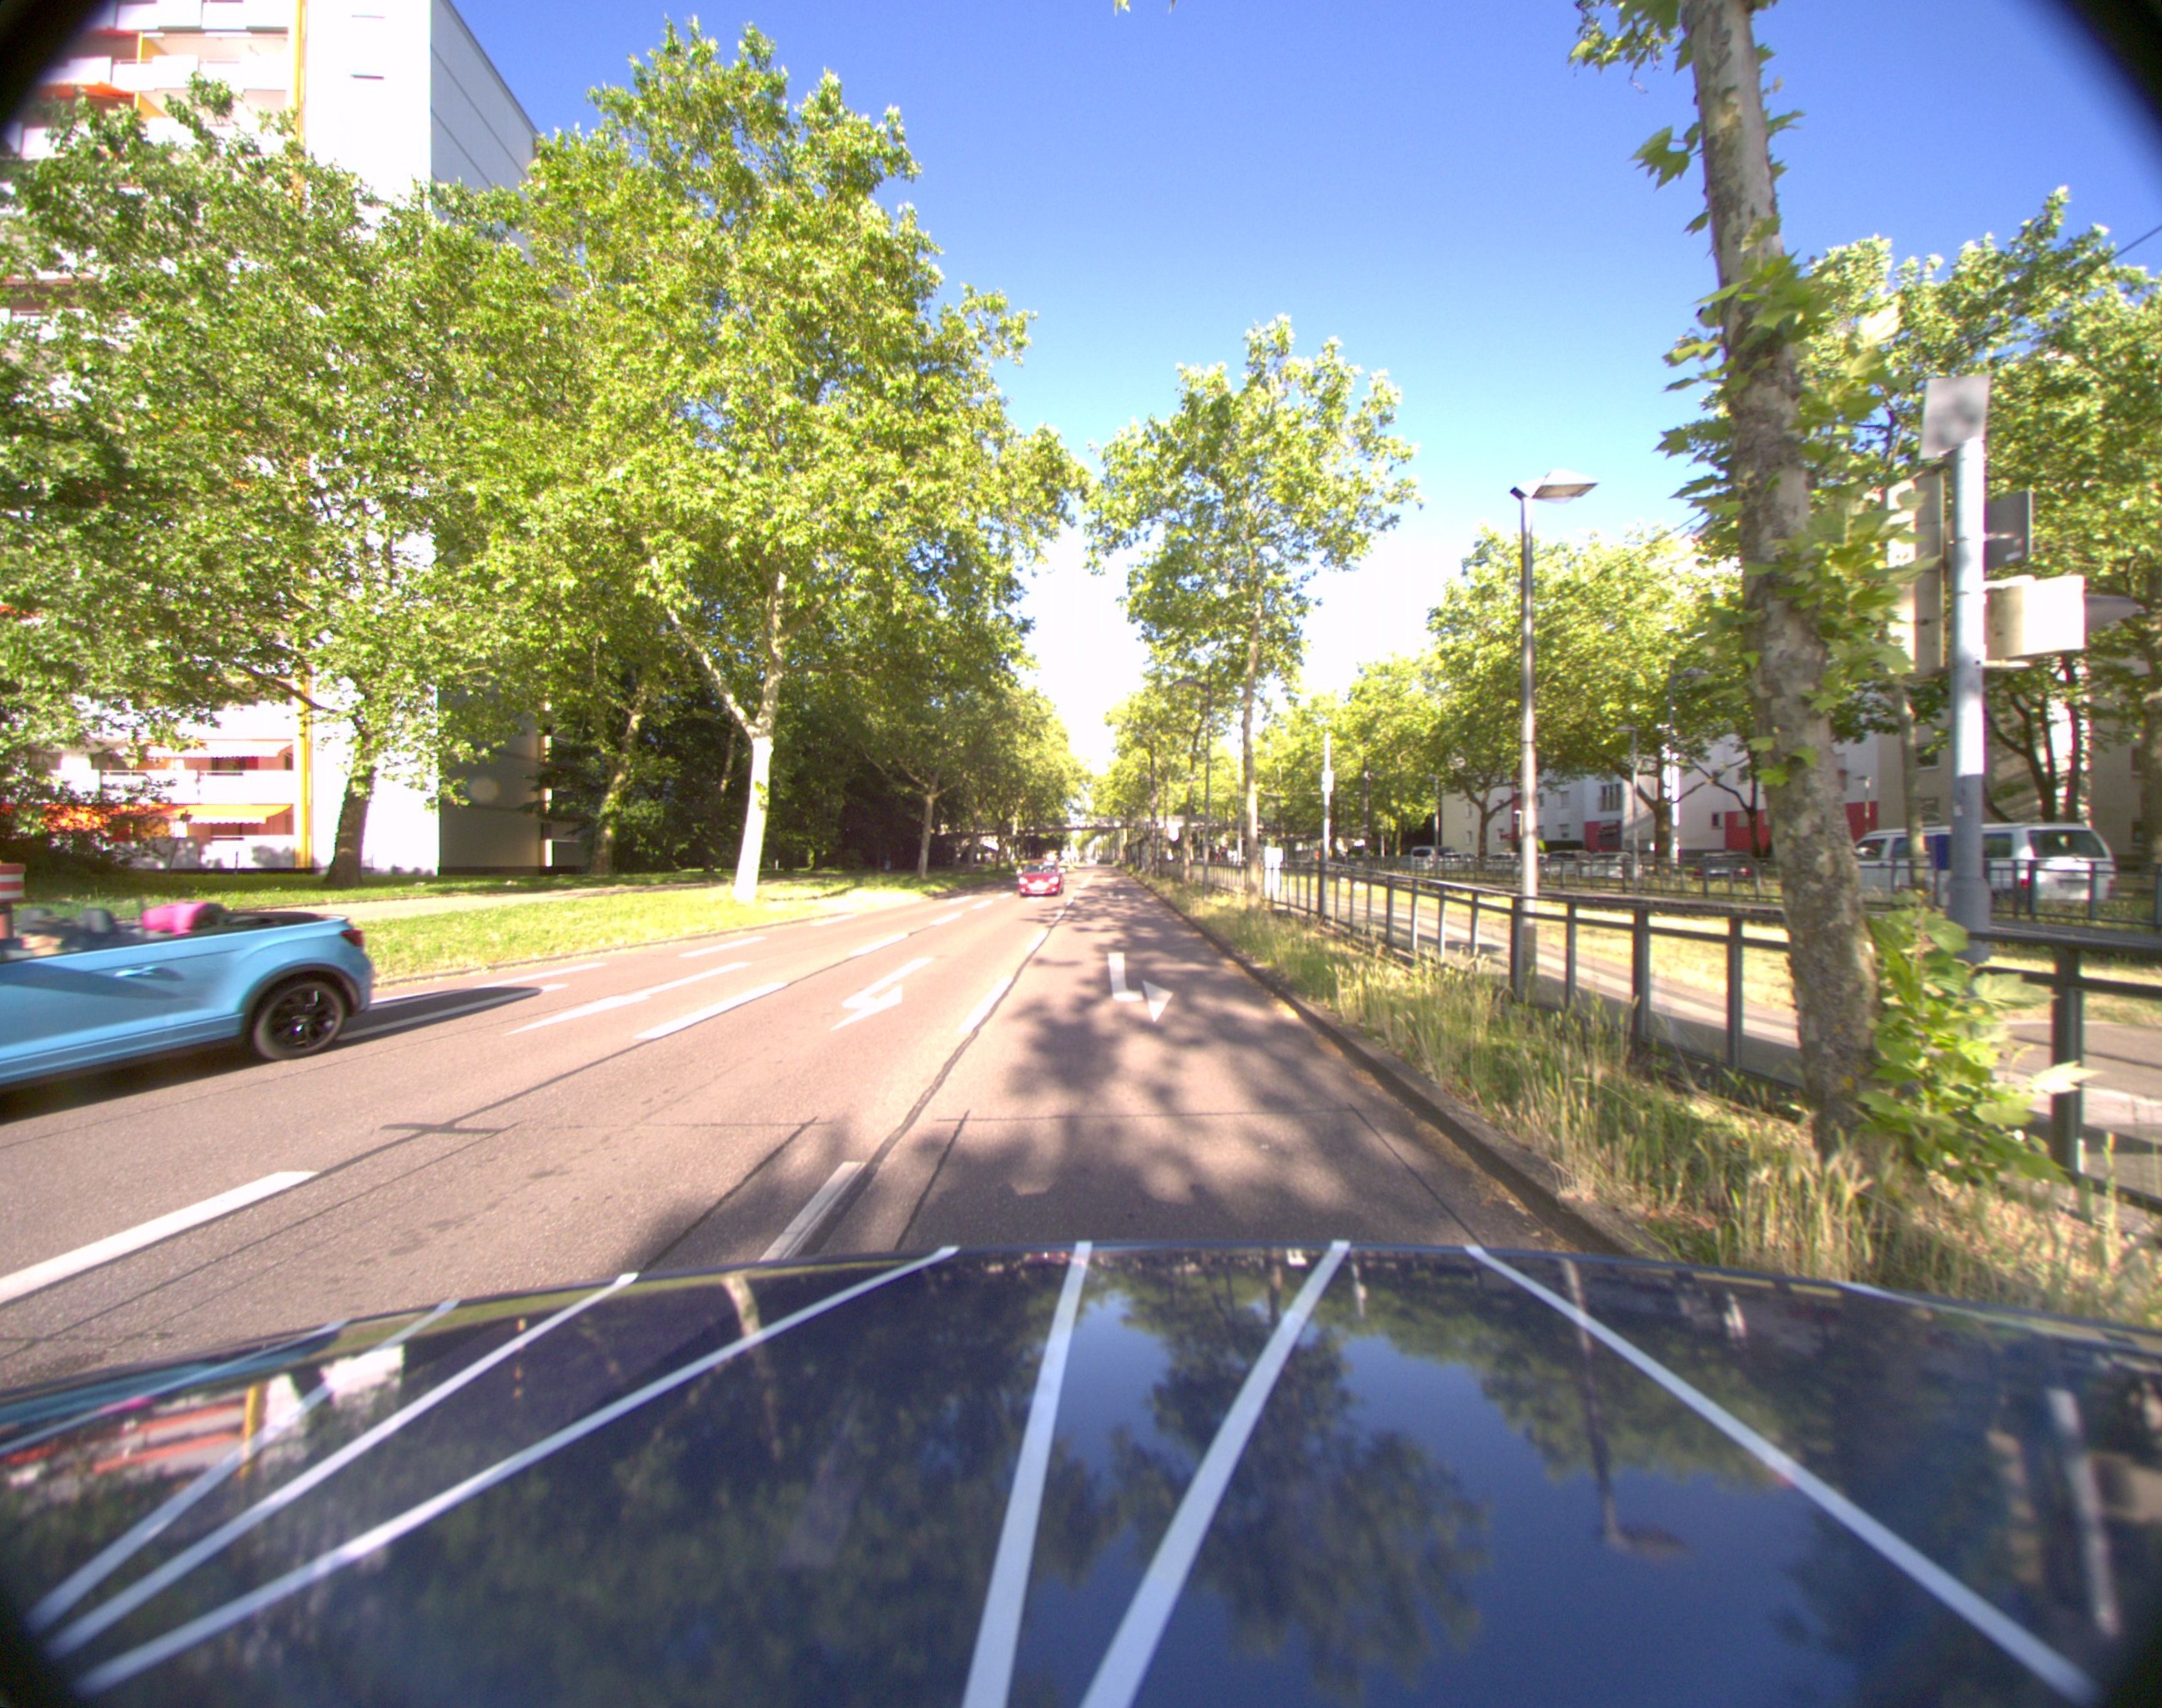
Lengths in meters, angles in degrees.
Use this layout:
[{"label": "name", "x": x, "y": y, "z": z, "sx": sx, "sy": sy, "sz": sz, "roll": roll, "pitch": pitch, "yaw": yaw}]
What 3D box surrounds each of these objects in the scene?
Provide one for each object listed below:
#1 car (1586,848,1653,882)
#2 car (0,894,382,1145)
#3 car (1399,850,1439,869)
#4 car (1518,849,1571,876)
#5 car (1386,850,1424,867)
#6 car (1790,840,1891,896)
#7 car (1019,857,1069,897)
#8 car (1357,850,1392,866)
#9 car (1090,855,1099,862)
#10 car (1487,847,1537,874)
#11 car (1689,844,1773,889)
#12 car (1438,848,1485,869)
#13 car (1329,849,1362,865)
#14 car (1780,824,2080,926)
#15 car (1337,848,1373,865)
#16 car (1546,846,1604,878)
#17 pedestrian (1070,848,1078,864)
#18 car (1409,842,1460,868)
[{"label": "car", "x": 25.697, "y": 0.495, "z": 36.209, "sx": 3.890, "sy": 1.406, "sz": 1.486, "roll": -3, "pitch": 1, "yaw": -37}, {"label": "car", "x": -7.644, "y": 1.127, "z": 5.110, "sx": 1.737, "sy": 1.442, "sz": 4.134, "roll": -1, "pitch": 0, "yaw": 7}, {"label": "car", "x": 26.064, "y": 0.407, "z": 58.572, "sx": 3.494, "sy": 1.335, "sz": 1.476, "roll": -1, "pitch": 0, "yaw": -41}, {"label": "car", "x": 26.214, "y": 0.450, "z": 42.928, "sx": 3.493, "sy": 1.321, "sz": 1.476, "roll": -3, "pitch": 0, "yaw": -41}, {"label": "car", "x": 26.551, "y": 0.388, "z": 62.189, "sx": 3.494, "sy": 1.293, "sz": 1.476, "roll": -1, "pitch": 0, "yaw": -41}, {"label": "car", "x": 25.198, "y": 0.422, "z": 25.169, "sx": 4.007, "sy": 1.586, "sz": 1.810, "roll": -3, "pitch": 1, "yaw": -37}, {"label": "car", "x": -1.451, "y": 0.893, "z": 30.878, "sx": 1.646, "sy": 1.430, "sz": 3.761, "roll": -2, "pitch": 1, "yaw": 3}, {"label": "car", "x": 26.417, "y": 0.368, "z": 68.273, "sx": 3.494, "sy": 1.312, "sz": 1.476, "roll": -1, "pitch": 0, "yaw": -41}, {"label": "car", "x": 3.096, "y": 1.079, "z": 174.163, "sx": 1.798, "sy": 1.465, "sz": 3.999, "roll": -3, "pitch": 1, "yaw": -1}, {"label": "car", "x": 25.992, "y": 0.380, "z": 45.798, "sx": 3.494, "sy": 1.417, "sz": 1.558, "roll": -3, "pitch": -1, "yaw": -42}, {"label": "car", "x": 25.007, "y": 0.449, "z": 29.196, "sx": 4.007, "sy": 1.479, "sz": 1.626, "roll": -3, "pitch": 1, "yaw": -37}, {"label": "car", "x": 26.209, "y": 0.285, "z": 52.304, "sx": 3.494, "sy": 1.395, "sz": 1.623, "roll": -1, "pitch": 0, "yaw": -41}, {"label": "car", "x": 27.153, "y": 0.287, "z": 77.909, "sx": 3.742, "sy": 1.517, "sz": 1.597, "roll": -1, "pitch": 1, "yaw": -43}, {"label": "car", "x": 18.974, "y": 0.413, "z": 17.397, "sx": 1.795, "sy": 1.980, "sz": 4.653, "roll": -1, "pitch": 0, "yaw": 3}, {"label": "car", "x": 25.972, "y": 0.228, "z": 71.899, "sx": 3.835, "sy": 1.561, "sz": 1.597, "roll": -1, "pitch": 0, "yaw": -43}, {"label": "car", "x": 25.931, "y": 0.385, "z": 39.855, "sx": 3.402, "sy": 1.499, "sz": 1.461, "roll": -3, "pitch": 1, "yaw": -37}, {"label": "pedestrian", "x": -0.971, "y": 0.274, "z": 101.037, "sx": 0.919, "sy": 2.002, "sz": 0.962, "roll": -3, "pitch": 1, "yaw": -1}, {"label": "car", "x": 25.804, "y": 0.093, "z": 55.372, "sx": 4.056, "sy": 1.802, "sz": 1.864, "roll": -1, "pitch": 0, "yaw": -41}]
